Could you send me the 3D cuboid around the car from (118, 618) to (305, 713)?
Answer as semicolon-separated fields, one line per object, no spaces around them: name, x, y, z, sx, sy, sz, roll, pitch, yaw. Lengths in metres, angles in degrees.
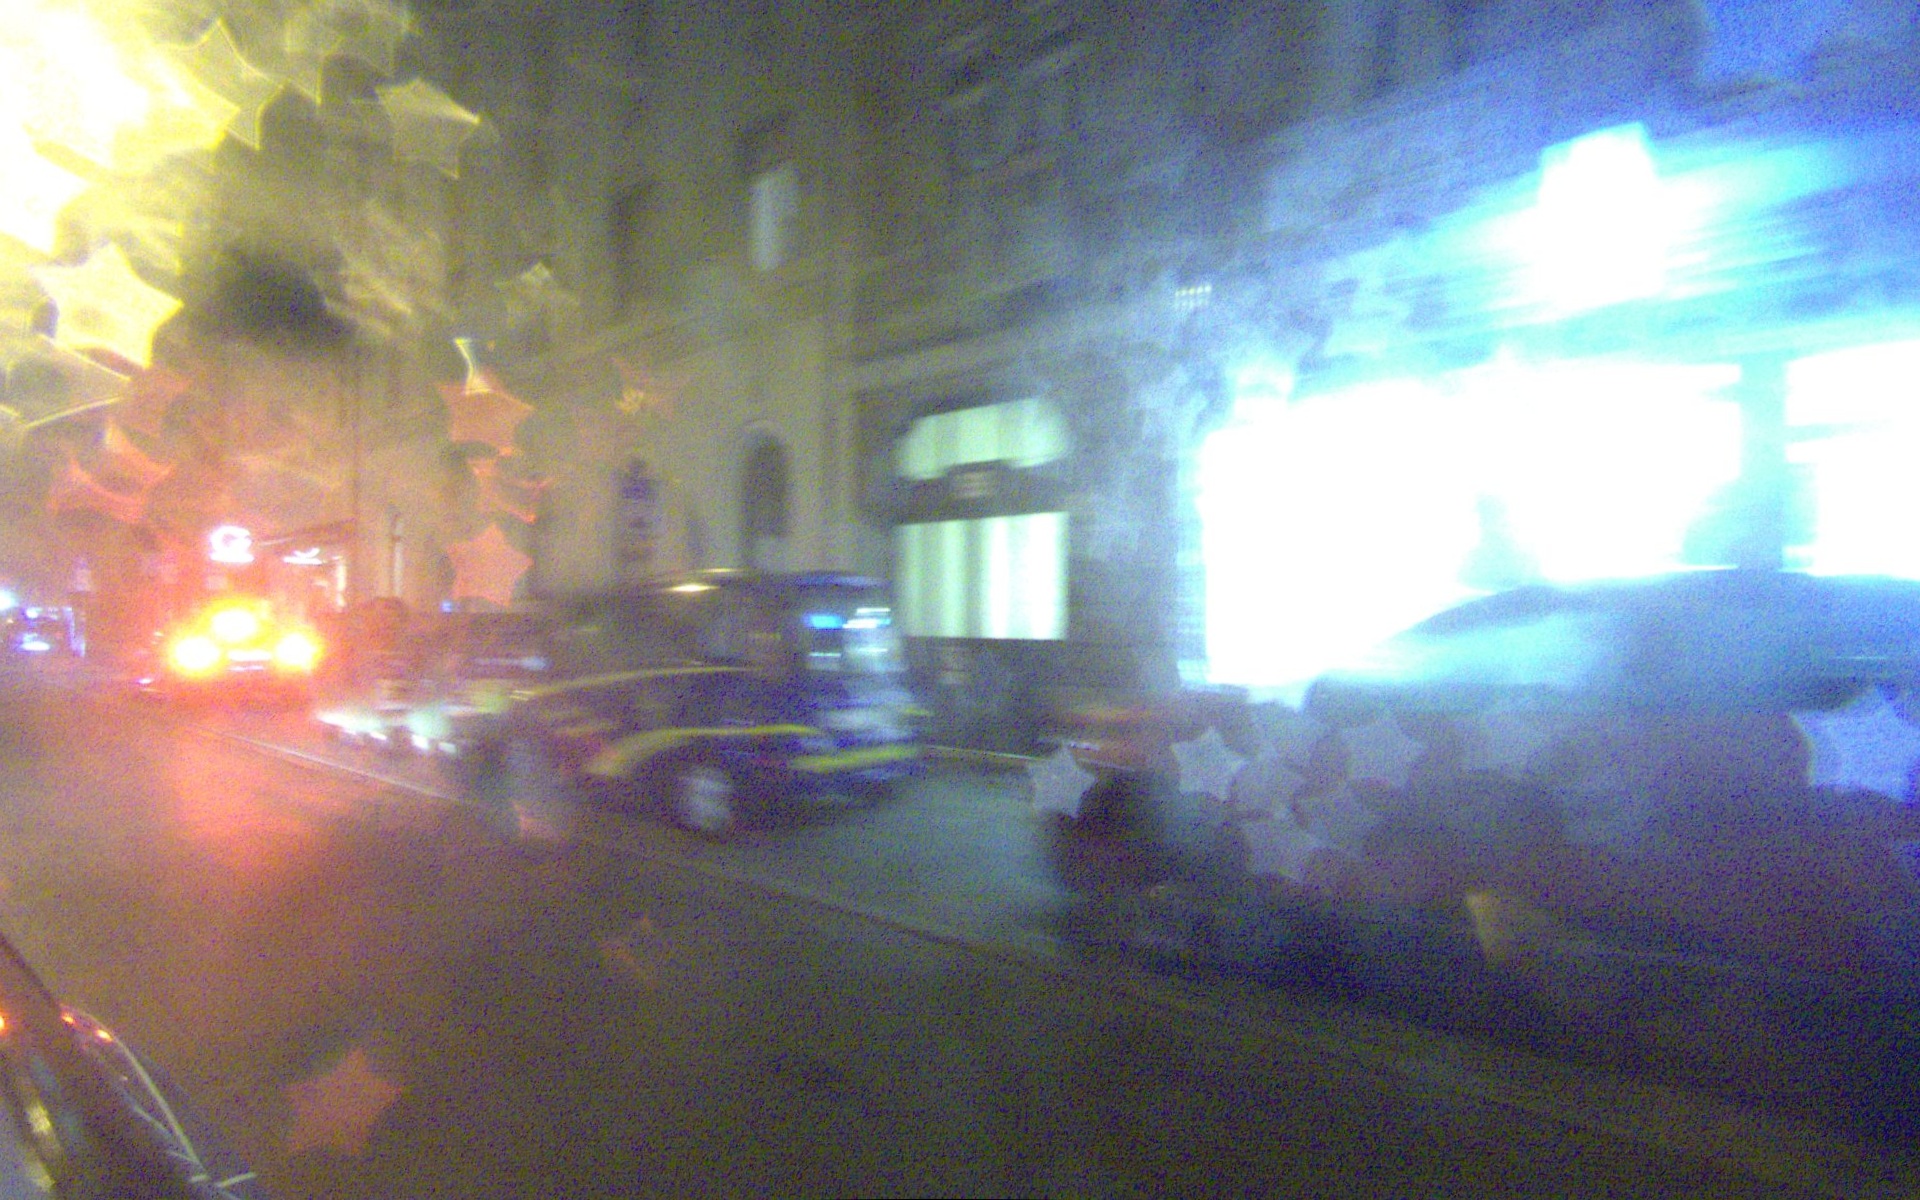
car;-12.498;0.997;16.808;4.220;1.369;1.637;-1;-1;41

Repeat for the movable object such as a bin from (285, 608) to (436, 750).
movable object such as a bin;-6.803;0.842;11.492;1.107;1.470;1.195;-1;0;43

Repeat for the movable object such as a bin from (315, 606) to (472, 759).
movable object such as a bin;-5.969;0.813;10.661;1.107;1.470;1.152;-1;0;43

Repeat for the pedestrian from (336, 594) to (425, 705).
pedestrian;-9.749;0.806;17.036;0.787;1.796;1.120;-1;-1;41

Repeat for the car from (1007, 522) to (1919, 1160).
car;2.242;0.602;3.629;4.023;1.564;1.587;-2;-1;41

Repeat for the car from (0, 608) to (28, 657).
car;-38.813;1.284;40.436;4.826;1.860;1.846;-1;-2;42

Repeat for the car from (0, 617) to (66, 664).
car;-31.524;1.341;34.325;3.564;1.453;1.529;-1;0;44

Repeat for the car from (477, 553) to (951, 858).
car;-1.981;0.619;7.527;3.719;1.719;1.587;-1;-1;41

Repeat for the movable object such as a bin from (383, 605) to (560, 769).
movable object such as a bin;-4.854;0.803;10.073;1.151;1.470;1.248;-1;0;43
